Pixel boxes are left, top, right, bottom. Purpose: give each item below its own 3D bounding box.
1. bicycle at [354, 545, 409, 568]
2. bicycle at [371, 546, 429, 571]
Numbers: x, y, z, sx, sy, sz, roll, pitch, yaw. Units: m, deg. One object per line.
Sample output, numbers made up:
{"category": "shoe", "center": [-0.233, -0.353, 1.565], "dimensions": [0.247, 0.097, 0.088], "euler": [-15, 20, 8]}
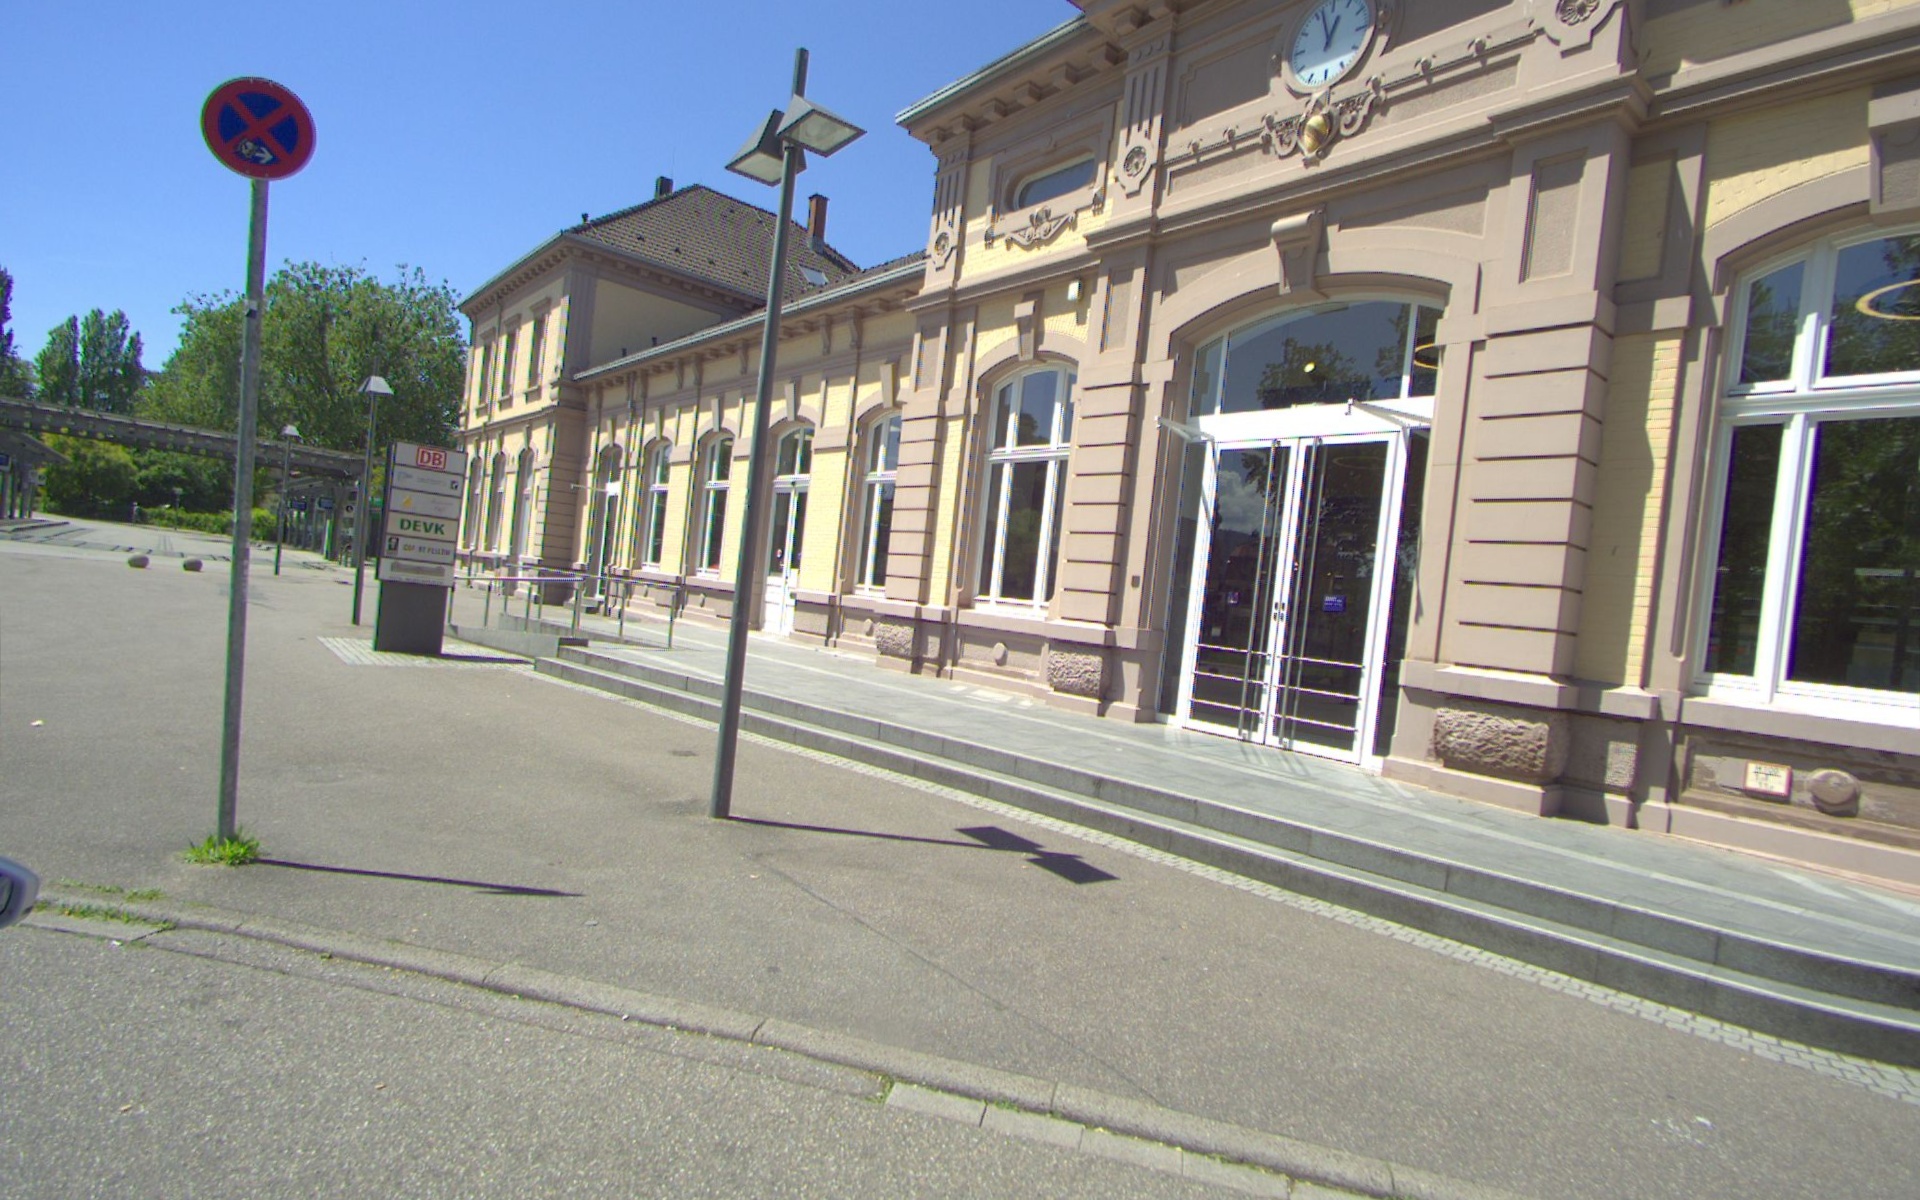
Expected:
{"category": "bicycle", "center": [-36.104, -2.700, 62.842], "dimensions": [2.778, 1.015, 0.802], "euler": [10, -3, -42]}
{"category": "bicycle", "center": [-32.442, -2.404, 58.304], "dimensions": [2.778, 1.015, 0.802], "euler": [10, -3, -42]}
